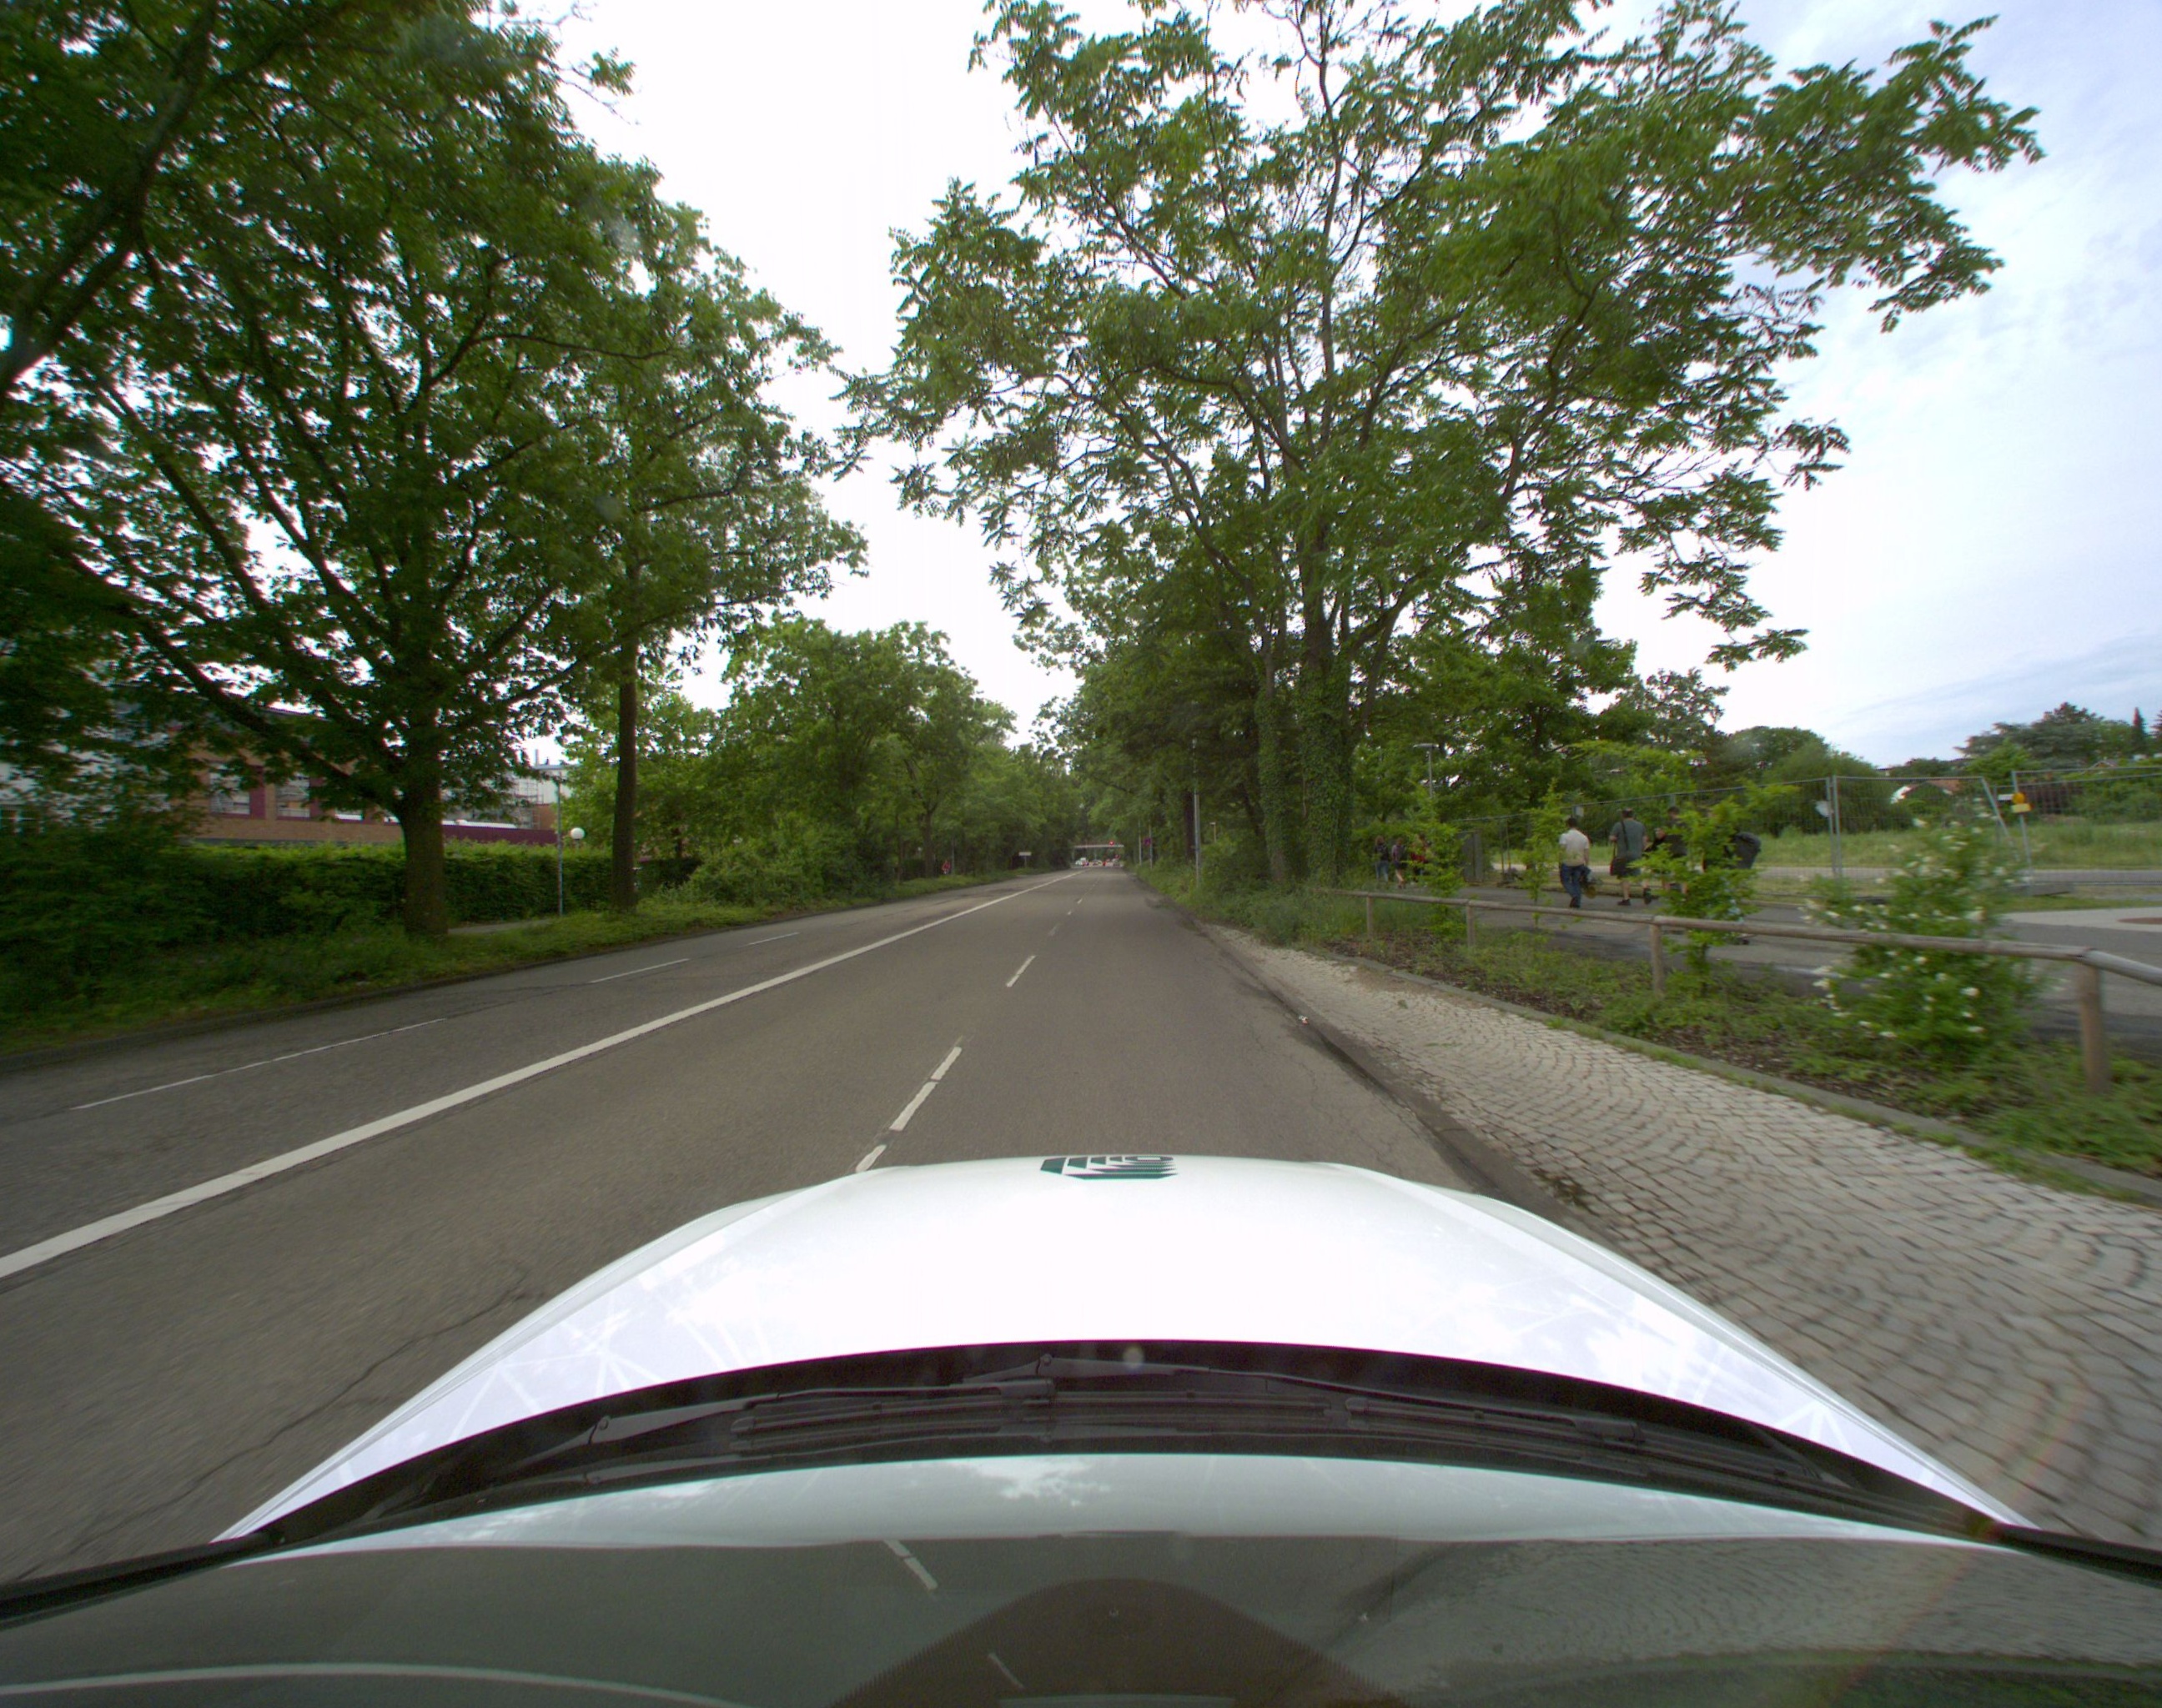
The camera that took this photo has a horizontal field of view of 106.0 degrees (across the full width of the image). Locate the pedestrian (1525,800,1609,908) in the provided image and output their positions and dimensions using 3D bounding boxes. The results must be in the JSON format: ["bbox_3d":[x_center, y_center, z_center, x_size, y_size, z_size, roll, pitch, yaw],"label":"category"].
[{"bbox_3d":[9.500,-0.003,15.970,0.923,2.014,1.039,-3,-1,-2],"label":"pedestrian"}]

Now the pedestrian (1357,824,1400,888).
[{"bbox_3d":[9.671,0.070,26.527,0.923,2.014,1.039,-3,-1,-2],"label":"pedestrian"}]

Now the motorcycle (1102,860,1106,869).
[{"bbox_3d":[5.530,2.478,194.507,0.986,1.936,2.670,-1,0,2],"label":"motorcycle"}]

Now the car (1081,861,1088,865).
[{"bbox_3d":[1.029,2.593,238.008,1.984,1.354,3.900,-1,0,5],"label":"car"}]

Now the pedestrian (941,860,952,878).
[{"bbox_3d":[-11.763,1.323,71.337,0.788,1.613,0.848,-1,-1,2],"label":"pedestrian"}]

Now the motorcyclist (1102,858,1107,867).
[{"bbox_3d":[5.598,1.971,194.444,1.059,2.014,0.843,-1,-1,2],"label":"motorcyclist"}]

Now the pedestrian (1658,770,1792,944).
[{"bbox_3d":[7.885,0.039,10.020,0.841,2.014,0.892,-2,-1,-6],"label":"pedestrian"}]

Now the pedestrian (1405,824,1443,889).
[{"bbox_3d":[10.961,0.092,26.055,0.821,2.014,0.720,-3,-1,1],"label":"pedestrian"}]

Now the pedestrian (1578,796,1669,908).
[{"bbox_3d":[10.252,-0.037,15.440,0.923,2.014,1.039,-3,-1,-2],"label":"pedestrian"}]

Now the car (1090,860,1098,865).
[{"bbox_3d":[3.894,2.560,238.195,1.664,1.362,3.932,-1,0,11],"label":"car"}]

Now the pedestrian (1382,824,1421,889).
[{"bbox_3d":[10.195,0.085,25.918,0.821,2.013,0.720,-4,-1,1],"label":"pedestrian"}]

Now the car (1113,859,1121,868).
[{"bbox_3d":[8.359,2.297,190.643,1.836,2.014,4.002,-1,0,2],"label":"car"}]
